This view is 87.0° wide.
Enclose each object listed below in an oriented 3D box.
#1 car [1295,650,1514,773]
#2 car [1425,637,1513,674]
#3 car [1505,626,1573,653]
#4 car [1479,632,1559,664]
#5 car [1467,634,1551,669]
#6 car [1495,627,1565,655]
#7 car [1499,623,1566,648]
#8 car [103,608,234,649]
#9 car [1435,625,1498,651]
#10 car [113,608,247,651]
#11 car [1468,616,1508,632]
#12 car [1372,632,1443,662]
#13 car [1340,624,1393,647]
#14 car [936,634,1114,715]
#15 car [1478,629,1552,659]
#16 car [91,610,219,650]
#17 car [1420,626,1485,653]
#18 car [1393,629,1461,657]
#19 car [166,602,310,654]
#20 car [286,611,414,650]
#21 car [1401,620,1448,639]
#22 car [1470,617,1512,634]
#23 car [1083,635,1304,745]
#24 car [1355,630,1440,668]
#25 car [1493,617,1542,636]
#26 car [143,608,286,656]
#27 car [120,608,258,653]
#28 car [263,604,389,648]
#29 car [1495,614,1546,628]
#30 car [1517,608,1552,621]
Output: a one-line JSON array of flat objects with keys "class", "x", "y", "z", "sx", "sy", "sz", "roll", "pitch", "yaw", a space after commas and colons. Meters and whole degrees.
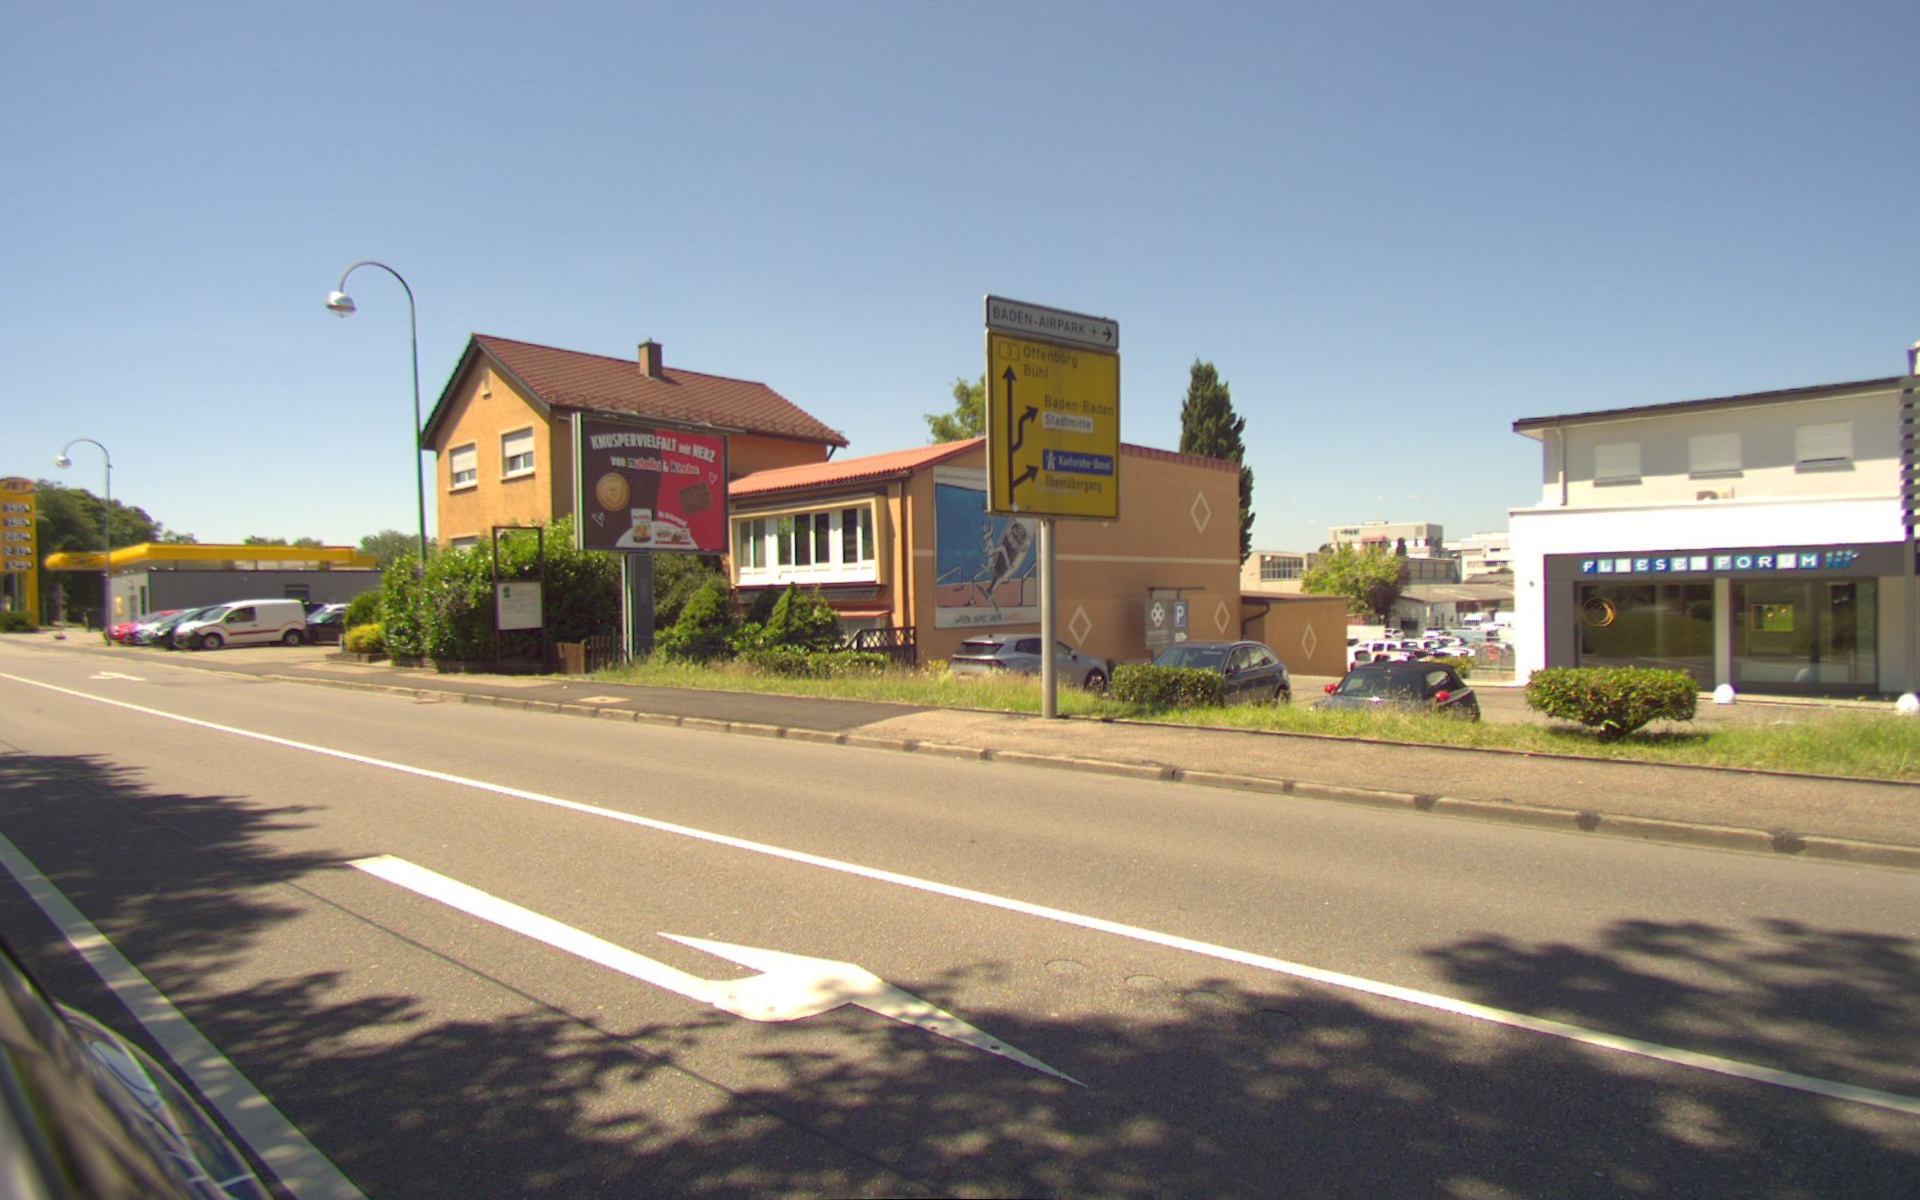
[{"class": "car", "x": 7.164, "y": 1.657, "z": 16.121, "sx": 4.039, "sy": 1.544, "sz": 1.772, "roll": 0, "pitch": -1, "yaw": -44}, {"class": "car", "x": 26.427, "y": 2.872, "z": 52.605, "sx": 3.774, "sy": 1.768, "sz": 1.707, "roll": -1, "pitch": -1, "yaw": 44}, {"class": "car", "x": 39.886, "y": 2.694, "z": 69.810, "sx": 3.774, "sy": 1.768, "sz": 1.707, "roll": -1, "pitch": -1, "yaw": 44}, {"class": "car", "x": 32.790, "y": 2.786, "z": 59.432, "sx": 3.774, "sy": 1.768, "sz": 1.707, "roll": -1, "pitch": -1, "yaw": 44}, {"class": "car", "x": 30.403, "y": 2.817, "z": 56.135, "sx": 3.774, "sy": 1.768, "sz": 1.707, "roll": -1, "pitch": -1, "yaw": 44}, {"class": "car", "x": 38.081, "y": 2.714, "z": 67.674, "sx": 3.774, "sy": 1.768, "sz": 1.707, "roll": -1, "pitch": -1, "yaw": 44}, {"class": "car", "x": 42.762, "y": 2.647, "z": 75.587, "sx": 4.055, "sy": 1.768, "sz": 1.707, "roll": -1, "pitch": -1, "yaw": 44}, {"class": "car", "x": -35.884, "y": 1.258, "z": 45.992, "sx": 1.871, "sy": 1.773, "sz": 4.351, "roll": -1, "pitch": -1, "yaw": 35}, {"class": "car", "x": 36.509, "y": 2.734, "z": 73.007, "sx": 3.774, "sy": 1.768, "sz": 1.707, "roll": -1, "pitch": -1, "yaw": 44}, {"class": "car", "x": -34.225, "y": 1.264, "z": 44.503, "sx": 1.871, "sy": 1.773, "sz": 4.351, "roll": -1, "pitch": -1, "yaw": 35}, {"class": "car", "x": 61.528, "y": 2.811, "z": 117.880, "sx": 3.774, "sy": 1.768, "sz": 1.707, "roll": -1, "pitch": -1, "yaw": 44}, {"class": "car", "x": 28.302, "y": 2.932, "z": 64.042, "sx": 3.774, "sy": 1.768, "sz": 1.707, "roll": -1, "pitch": -1, "yaw": 44}, {"class": "car", "x": 33.970, "y": 2.949, "z": 84.563, "sx": 3.774, "sy": 1.768, "sz": 1.707, "roll": -1, "pitch": -1, "yaw": 44}, {"class": "car", "x": 1.584, "y": 1.645, "z": 23.621, "sx": 4.165, "sy": 1.621, "sz": 1.773, "roll": 0, "pitch": -1, "yaw": -42}, {"class": "car", "x": 34.930, "y": 2.757, "z": 63.694, "sx": 3.774, "sy": 1.768, "sz": 1.707, "roll": -1, "pitch": -1, "yaw": 44}, {"class": "car", "x": -37.745, "y": 1.387, "z": 47.542, "sx": 1.871, "sy": 1.773, "sz": 4.351, "roll": -1, "pitch": -1, "yaw": 35}, {"class": "car", "x": 34.432, "y": 2.758, "z": 70.781, "sx": 3.774, "sy": 1.768, "sz": 1.707, "roll": -1, "pitch": -1, "yaw": 44}, {"class": "car", "x": 31.110, "y": 2.836, "z": 67.428, "sx": 3.774, "sy": 1.768, "sz": 1.707, "roll": -1, "pitch": -1, "yaw": 44}, {"class": "car", "x": -27.543, "y": 1.041, "z": 38.732, "sx": 1.871, "sy": 1.883, "sz": 4.143, "roll": -1, "pitch": -1, "yaw": 35}, {"class": "car", "x": -26.150, "y": 1.255, "z": 43.521, "sx": 1.871, "sy": 1.575, "sz": 4.351, "roll": -1, "pitch": -1, "yaw": 35}, {"class": "car", "x": 44.707, "y": 2.812, "z": 97.512, "sx": 3.774, "sy": 1.768, "sz": 1.707, "roll": -1, "pitch": 0, "yaw": 44}, {"class": "car", "x": 58.889, "y": 2.803, "z": 112.182, "sx": 3.774, "sy": 1.768, "sz": 1.707, "roll": -2, "pitch": -1, "yaw": 44}, {"class": "car", "x": 4.370, "y": 1.525, "z": 18.519, "sx": 4.462, "sy": 1.654, "sz": 1.772, "roll": 0, "pitch": -1, "yaw": -44}, {"class": "car", "x": 24.982, "y": 2.753, "z": 57.872, "sx": 4.001, "sy": 2.029, "sz": 1.971, "roll": -1, "pitch": -1, "yaw": 44}, {"class": "car", "x": 53.077, "y": 2.490, "z": 96.338, "sx": 3.774, "sy": 1.768, "sz": 1.707, "roll": -1, "pitch": 0, "yaw": 44}, {"class": "car", "x": -29.331, "y": 1.227, "z": 39.932, "sx": 1.871, "sy": 1.773, "sz": 4.198, "roll": -1, "pitch": -1, "yaw": 35}, {"class": "car", "x": -32.653, "y": 1.250, "z": 42.970, "sx": 1.871, "sy": 1.773, "sz": 4.351, "roll": -1, "pitch": -1, "yaw": 35}, {"class": "car", "x": -27.963, "y": 1.126, "z": 44.752, "sx": 1.871, "sy": 1.839, "sz": 4.351, "roll": -1, "pitch": -1, "yaw": 35}, {"class": "car", "x": 71.742, "y": 2.641, "z": 129.577, "sx": 5.303, "sy": 1.768, "sz": 2.037, "roll": -1, "pitch": -1, "yaw": 44}, {"class": "car", "x": 76.968, "y": 1.968, "z": 135.553, "sx": 3.774, "sy": 1.768, "sz": 1.707, "roll": -1, "pitch": -1, "yaw": 44}]
